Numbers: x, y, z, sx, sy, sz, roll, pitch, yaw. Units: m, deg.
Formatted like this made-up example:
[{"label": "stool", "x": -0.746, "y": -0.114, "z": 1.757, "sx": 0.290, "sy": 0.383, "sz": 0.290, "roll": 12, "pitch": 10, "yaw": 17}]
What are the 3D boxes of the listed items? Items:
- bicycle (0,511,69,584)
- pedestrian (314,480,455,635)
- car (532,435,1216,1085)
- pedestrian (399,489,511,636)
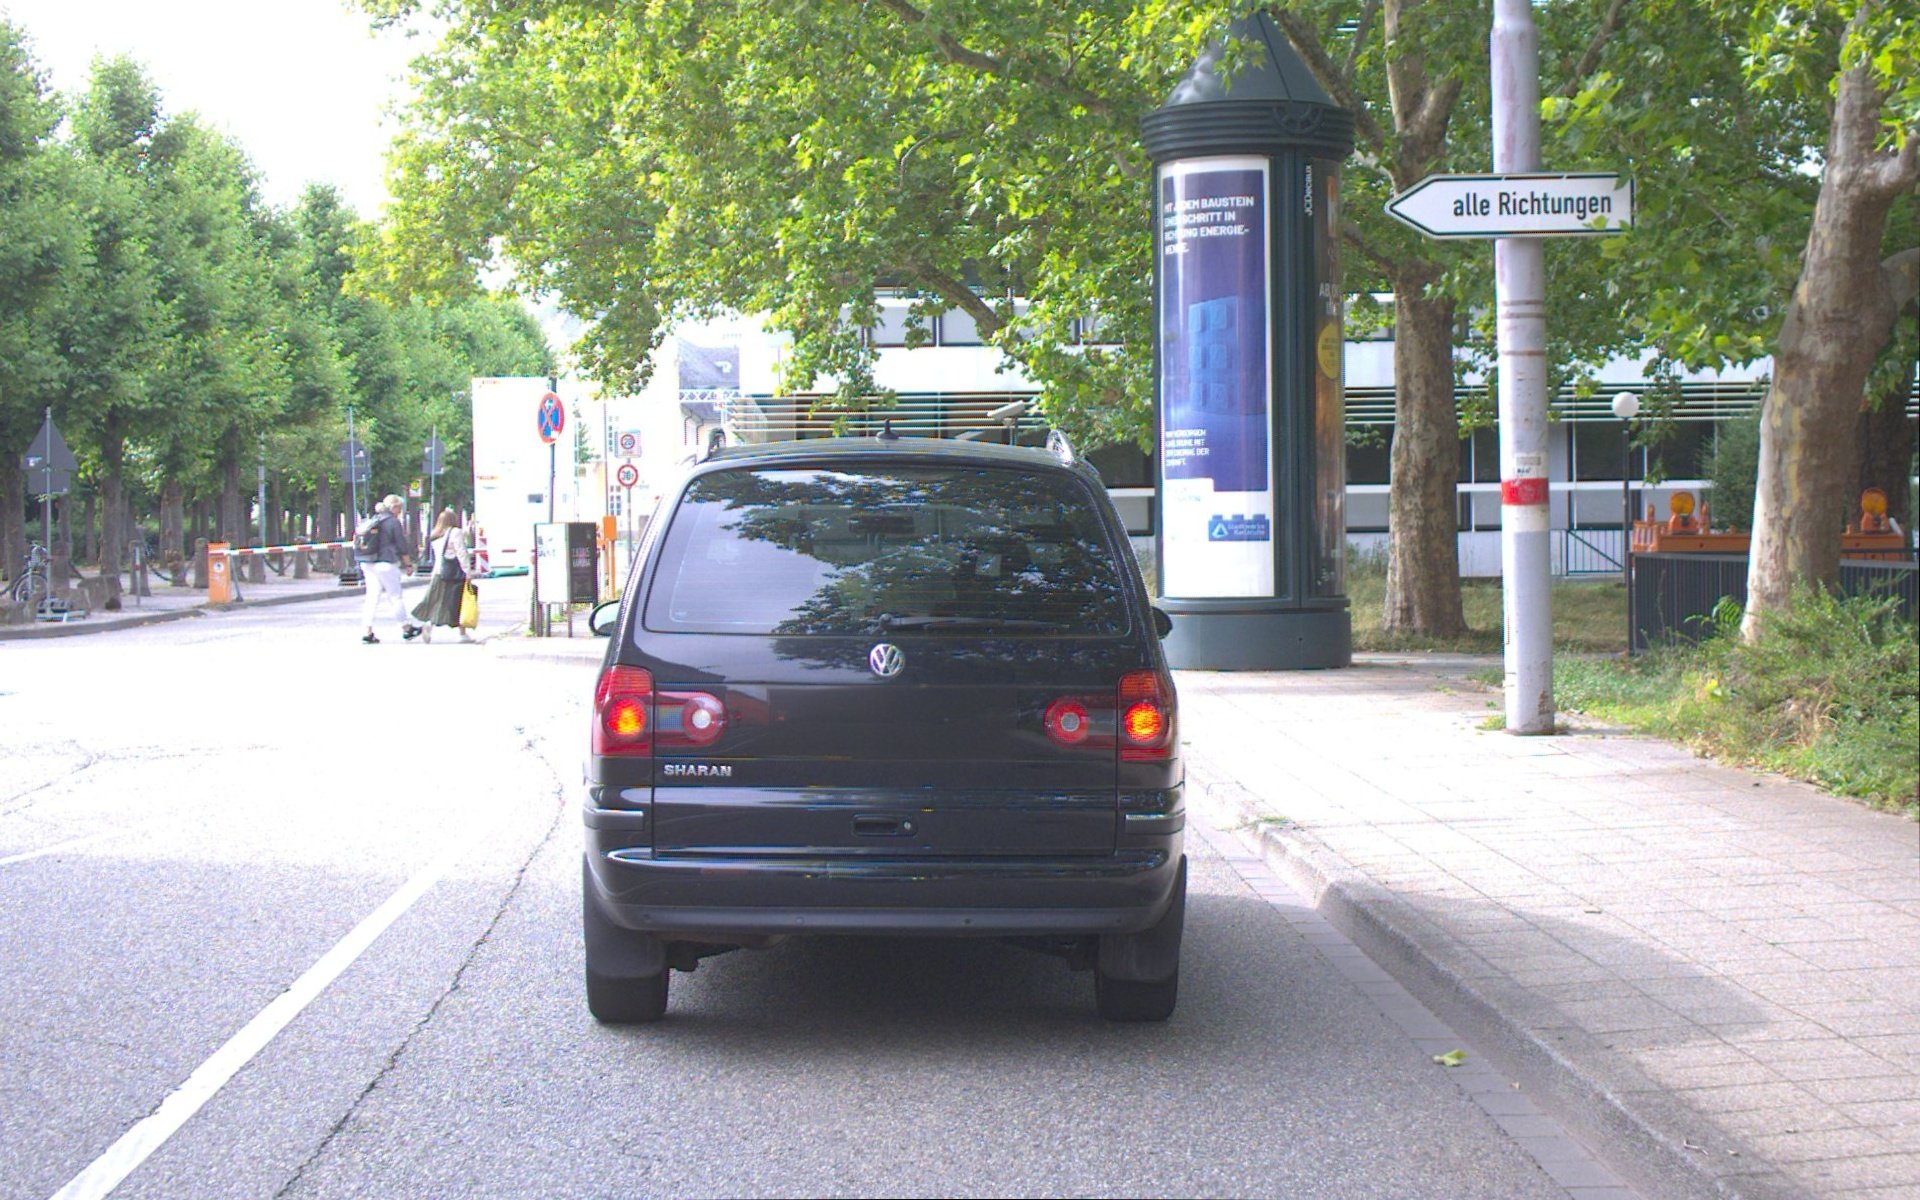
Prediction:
[{"label": "bicycle", "x": -14.866, "y": -0.856, "z": 55.072, "sx": 0.952, "sy": 1.106, "sz": 2.580, "roll": 0, "pitch": 2, "yaw": -19}, {"label": "pedestrian", "x": -6.585, "y": -0.495, "z": 39.378, "sx": 0.962, "sy": 1.735, "sz": 1.253, "roll": 2, "pitch": 2, "yaw": 37}, {"label": "car", "x": -0.303, "y": 0.362, "z": 11.216, "sx": 1.793, "sy": 1.702, "sz": 4.132, "roll": -1, "pitch": 2, "yaw": -2}, {"label": "pedestrian", "x": -5.734, "y": -0.432, "z": 39.019, "sx": 0.897, "sy": 1.635, "sz": 0.851, "roll": 2, "pitch": 2, "yaw": 34}]
